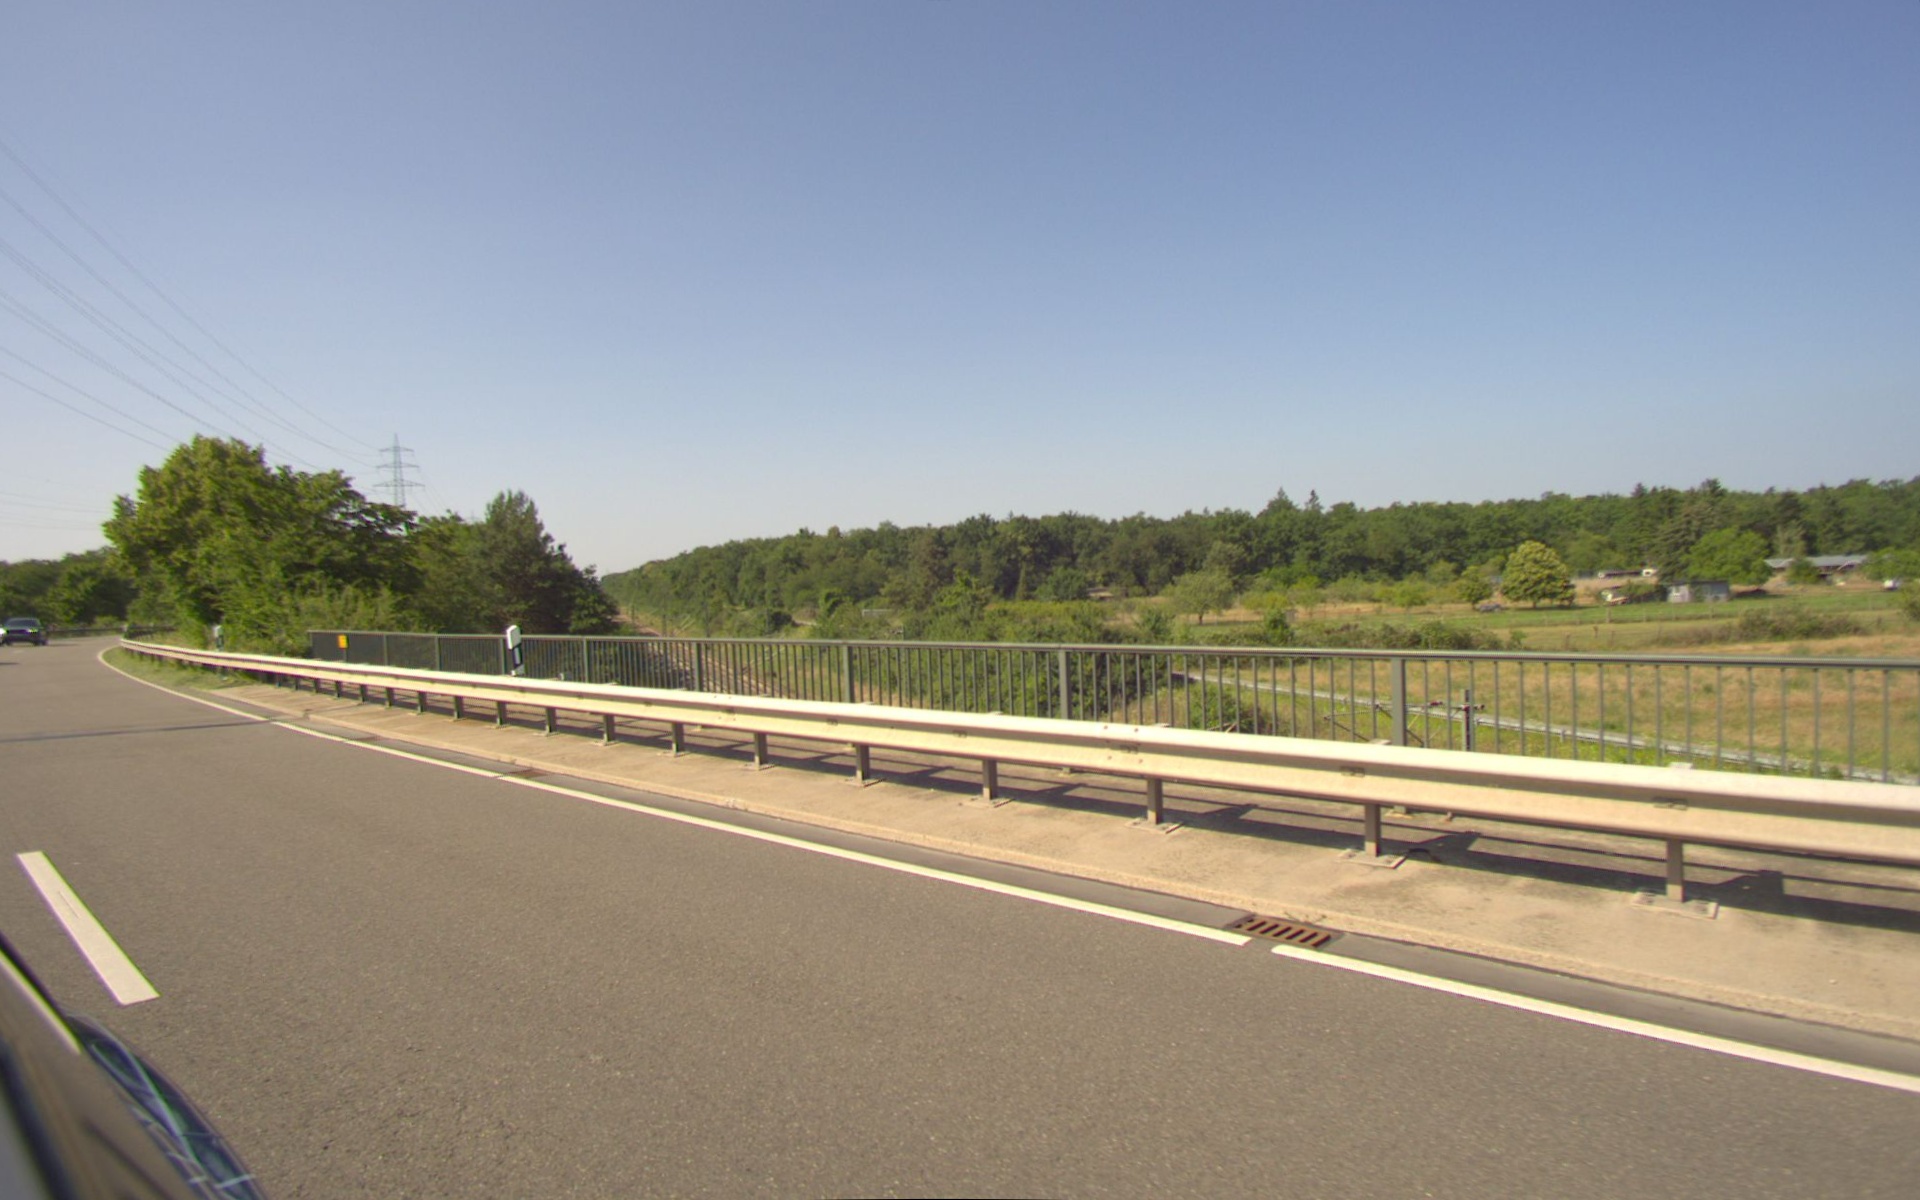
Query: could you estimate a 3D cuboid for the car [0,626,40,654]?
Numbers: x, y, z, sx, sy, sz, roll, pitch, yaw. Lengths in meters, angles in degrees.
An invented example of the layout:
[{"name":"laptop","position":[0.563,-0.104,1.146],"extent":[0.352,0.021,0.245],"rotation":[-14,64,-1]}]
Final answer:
[{"name":"car","position":[-56.579,2.382,60.773],"extent":[1.582,1.506,4.009],"rotation":[-1,0,-37]}]
